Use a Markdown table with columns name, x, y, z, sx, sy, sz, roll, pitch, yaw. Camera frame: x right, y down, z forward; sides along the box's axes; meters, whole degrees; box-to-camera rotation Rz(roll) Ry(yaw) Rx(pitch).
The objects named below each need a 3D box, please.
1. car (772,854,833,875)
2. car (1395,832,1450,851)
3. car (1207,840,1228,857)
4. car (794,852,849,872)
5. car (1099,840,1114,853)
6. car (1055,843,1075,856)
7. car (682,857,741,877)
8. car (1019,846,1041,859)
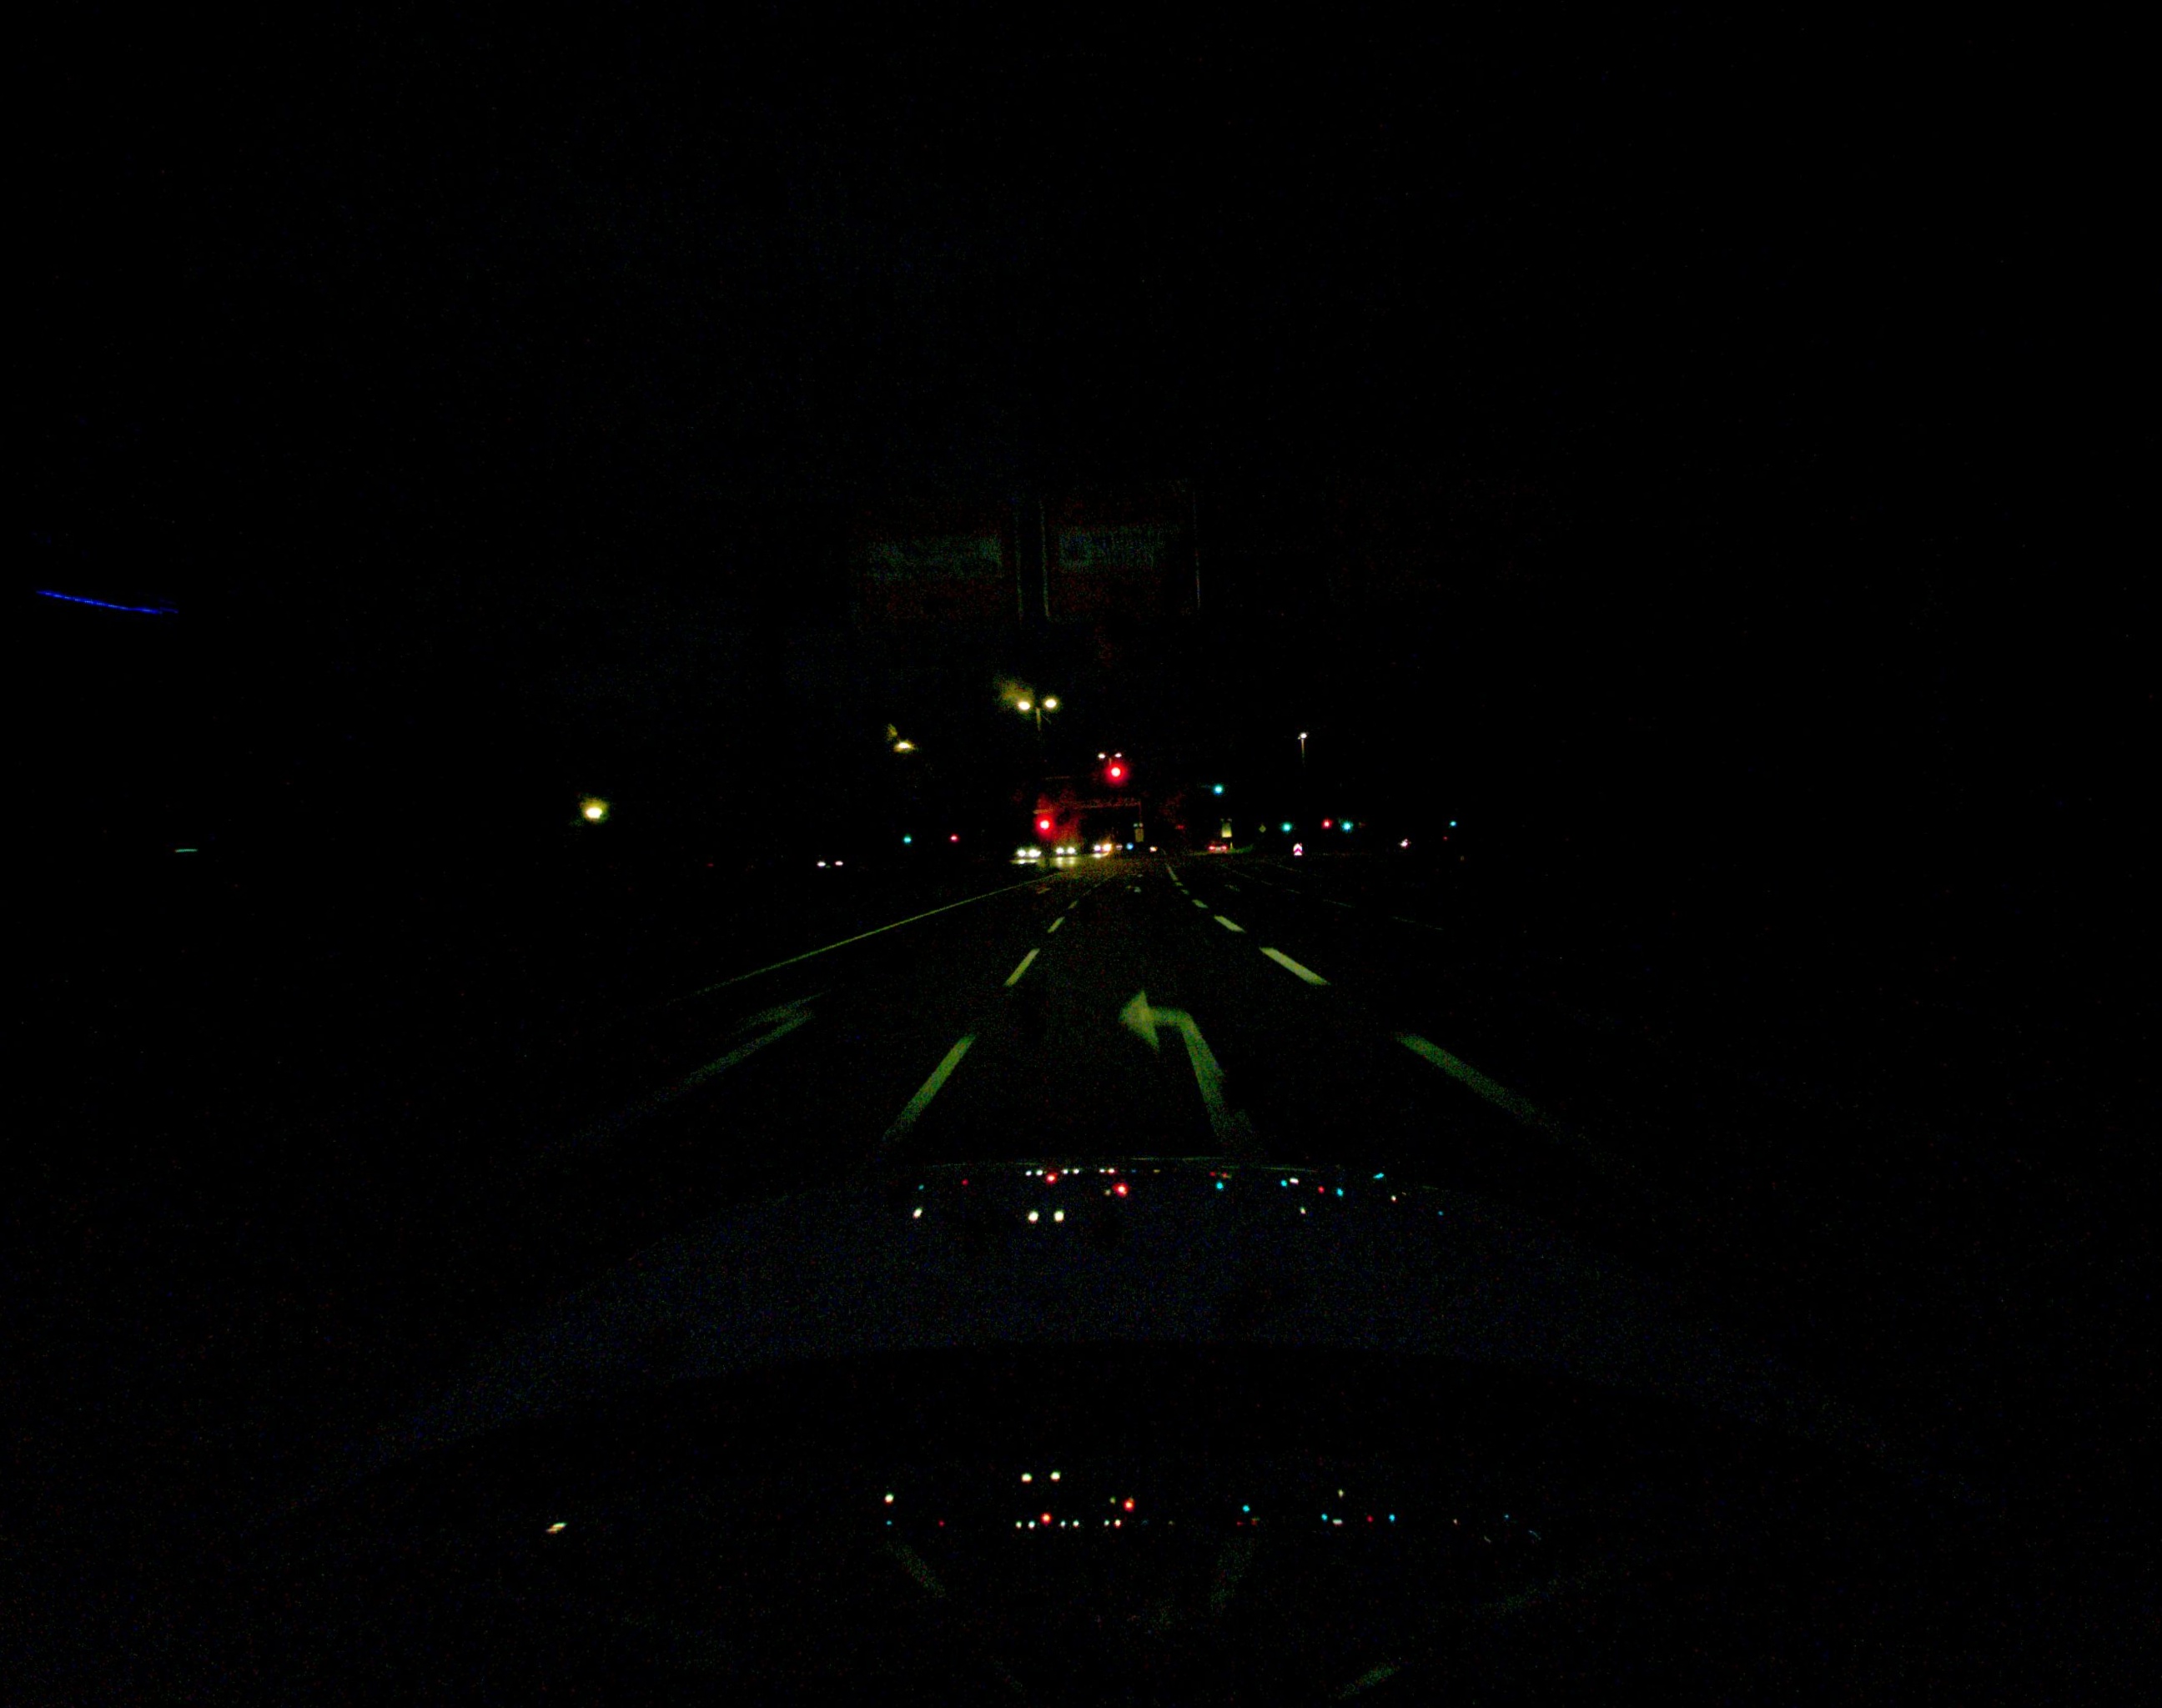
| name | x | y | z | sx | sy | sz | roll | pitch | yaw |
| --- | --- | --- | --- | --- | --- | --- | --- | --- | --- |
| car | -22.830 | 0.829 | 66.762 | 4.294 | 1.537 | 1.731 | -2 | 0 | 4 |
| car | 30.372 | -1.108 | 72.498 | 4.058 | 1.569 | 2.004 | -2 | 1 | 2 |
| car | 13.644 | -0.582 | 81.626 | 1.996 | 1.610 | 3.854 | 0 | 1 | 8 |
| car | -22.295 | 0.711 | 69.998 | 4.025 | 1.537 | 1.730 | -2 | 0 | 2 |
| car | 3.683 | -1.110 | 116.722 | 1.984 | 1.698 | 4.006 | -2 | 2 | 4 |
| car | -2.035 | -0.602 | 104.172 | 1.984 | 1.481 | 4.688 | -2 | 1 | 4 |
| car | -30.637 | 1.085 | 67.613 | 3.975 | 1.473 | 1.729 | -2 | 0 | -1 |
| car | -6.085 | -0.185 | 97.272 | 1.984 | 1.425 | 4.538 | -2 | 1 | 4 |
